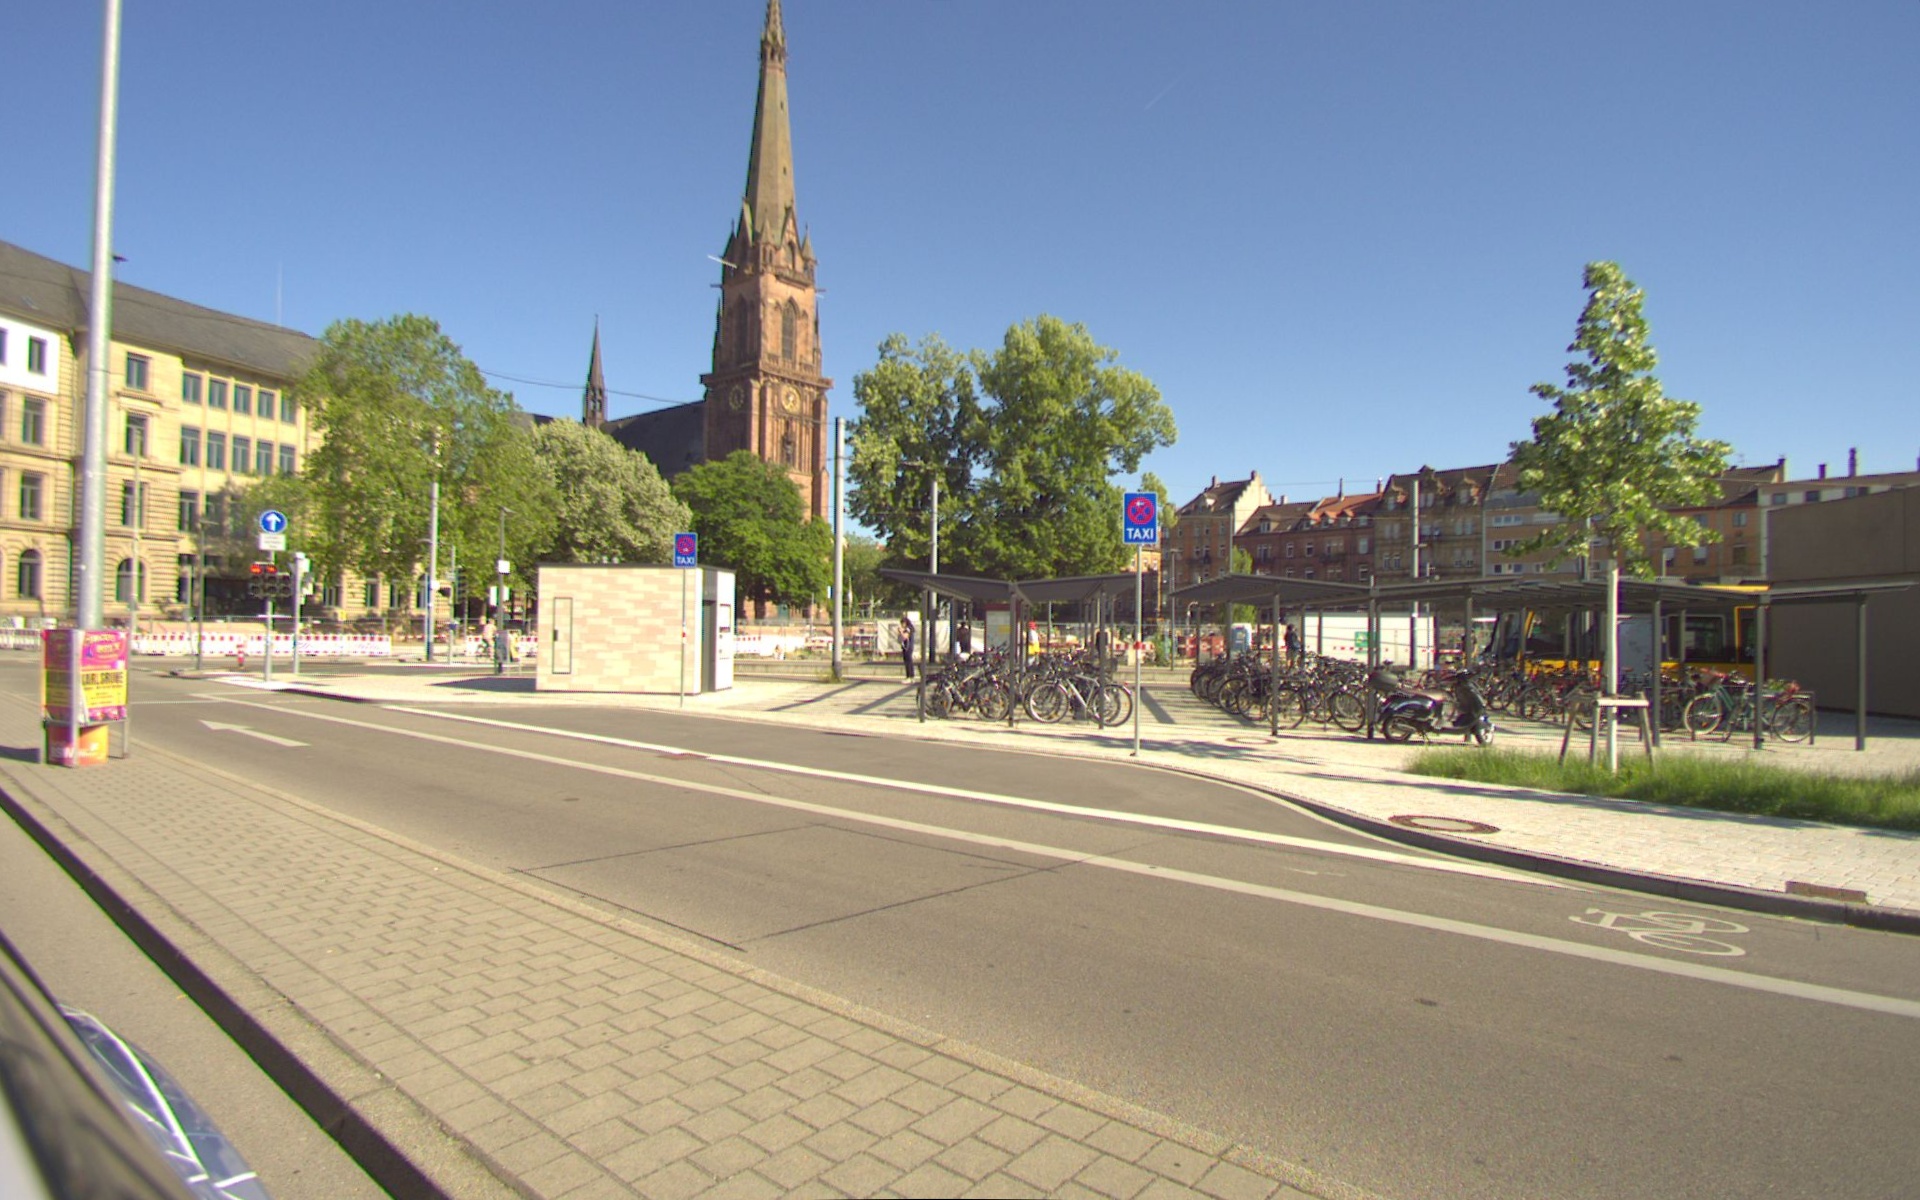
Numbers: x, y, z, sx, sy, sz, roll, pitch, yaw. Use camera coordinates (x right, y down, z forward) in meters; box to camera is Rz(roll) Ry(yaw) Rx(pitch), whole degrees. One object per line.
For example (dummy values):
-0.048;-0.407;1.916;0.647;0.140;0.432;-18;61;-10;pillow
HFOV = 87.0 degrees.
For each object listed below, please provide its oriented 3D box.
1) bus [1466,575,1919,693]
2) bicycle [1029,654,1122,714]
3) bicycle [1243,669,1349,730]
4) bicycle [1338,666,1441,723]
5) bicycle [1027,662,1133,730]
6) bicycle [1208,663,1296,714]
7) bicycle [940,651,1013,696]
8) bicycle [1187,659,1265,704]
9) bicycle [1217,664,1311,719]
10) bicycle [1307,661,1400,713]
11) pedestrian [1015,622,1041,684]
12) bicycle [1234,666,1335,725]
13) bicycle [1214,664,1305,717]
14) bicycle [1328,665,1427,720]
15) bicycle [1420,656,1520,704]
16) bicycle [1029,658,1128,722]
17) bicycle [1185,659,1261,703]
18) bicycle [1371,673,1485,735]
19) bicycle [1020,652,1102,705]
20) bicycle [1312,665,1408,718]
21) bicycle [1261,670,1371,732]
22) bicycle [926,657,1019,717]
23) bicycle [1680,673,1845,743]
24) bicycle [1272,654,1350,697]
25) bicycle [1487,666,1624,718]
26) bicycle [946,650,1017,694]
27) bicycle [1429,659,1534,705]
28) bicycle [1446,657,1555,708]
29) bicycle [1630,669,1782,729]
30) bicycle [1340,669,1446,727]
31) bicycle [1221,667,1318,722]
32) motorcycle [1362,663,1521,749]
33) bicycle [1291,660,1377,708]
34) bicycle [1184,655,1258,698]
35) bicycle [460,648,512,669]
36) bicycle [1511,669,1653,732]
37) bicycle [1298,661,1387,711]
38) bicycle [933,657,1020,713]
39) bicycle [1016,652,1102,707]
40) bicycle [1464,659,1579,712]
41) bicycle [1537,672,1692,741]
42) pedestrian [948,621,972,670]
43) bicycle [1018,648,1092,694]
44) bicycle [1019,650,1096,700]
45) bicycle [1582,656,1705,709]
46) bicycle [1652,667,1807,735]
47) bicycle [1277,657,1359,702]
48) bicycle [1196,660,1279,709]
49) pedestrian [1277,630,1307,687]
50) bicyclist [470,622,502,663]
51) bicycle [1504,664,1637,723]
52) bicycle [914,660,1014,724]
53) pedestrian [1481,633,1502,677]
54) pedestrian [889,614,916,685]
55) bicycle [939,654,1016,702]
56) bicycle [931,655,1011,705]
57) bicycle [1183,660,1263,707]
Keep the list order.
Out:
21.995;0.936;28.648;13.462;3.095;2.859;0;-2;6;bus
2.234;1.622;19.588;1.755;1.083;0.406;1;0;6;bicycle
5.792;1.711;17.469;1.661;0.980;0.406;1;0;3;bicycle
7.822;1.724;18.466;1.661;0.980;0.406;-1;0;3;bicycle
2.021;1.607;17.098;1.753;1.083;0.406;1;-3;6;bicycle
5.924;1.787;20.570;1.661;0.980;0.406;1;-5;3;bicycle
0.392;1.703;23.668;1.663;1.006;0.406;0;0;8;bicycle
6.052;1.861;23.057;1.661;0.980;0.406;1;-5;3;bicycle
5.813;1.739;19.382;1.661;0.980;0.406;1;0;3;bicycle
7.856;1.732;20.235;1.661;0.980;0.406;-1;0;3;bicycle
1.844;1.427;27.377;0.693;1.635;0.619;0;-2;5;pedestrian
5.814;1.711;18.194;1.661;0.980;0.406;1;0;3;bicycle
5.900;1.782;19.965;1.661;0.980;0.406;1;0;3;bicycle
7.841;1.732;19.019;1.661;0.980;0.406;-1;0;3;bicycle
12.299;1.921;24.435;2.048;1.045;0.533;1;3;8;bicycle
2.138;1.618;18.343;1.753;1.083;0.406;1;0;6;bicycle
6.136;1.883;23.630;1.661;0.980;0.406;1;-5;3;bicycle
7.767;1.725;16.828;1.661;0.980;0.406;-1;0;3;bicycle
2.192;1.696;22.034;1.755;1.083;0.406;1;0;6;bicycle
7.715;1.765;19.535;1.661;0.980;0.406;-1;0;3;bicycle
5.932;1.686;16.896;1.661;0.980;0.406;-1;0;3;bicycle
0.230;1.598;18.607;1.663;1.006;0.406;2;0;8;bicycle
12.766;1.716;16.144;2.048;1.045;0.533;-1;0;8;bicycle
8.290;1.787;23.921;1.661;0.980;0.406;-1;0;3;bicycle
11.613;1.800;19.797;2.208;0.951;0.685;-1;0;7;bicycle
0.516;1.703;24.193;1.663;1.006;0.406;0;0;8;bicycle
12.030;1.881;23.380;2.048;1.045;0.533;-1;-4;8;bicycle
11.864;1.803;22.262;2.048;1.045;0.533;-1;2;8;bicycle
13.478;1.782;18.336;2.117;1.005;0.690;-1;0;7;bicycle
7.642;1.727;17.898;1.661;0.980;0.406;-1;0;3;bicycle
5.727;1.751;18.774;1.661;0.980;0.406;-1;0;3;bicycle
7.192;1.572;15.166;2.059;1.228;0.569;-1;-2;3;motorcycle
7.987;1.791;21.629;1.661;0.980;0.406;-1;0;3;bicycle
6.254;1.838;24.318;1.661;0.980;0.406;1;-5;3;bicycle
-18.423;2.262;39.348;0.734;0.788;2.044;0;-2;13;bicycle
10.836;1.741;17.665;2.048;1.045;0.533;-1;0;8;bicycle
7.860;1.762;20.832;1.661;0.980;0.406;-1;0;3;bicycle
0.327;1.665;19.951;1.663;1.006;0.406;2;0;8;bicycle
2.051;1.644;20.979;1.755;1.083;0.406;1;0;6;bicycle
11.775;1.797;21.271;2.048;1.045;0.533;-1;2;8;bicycle
10.571;1.713;16.395;2.048;1.045;0.533;-1;0;8;bicycle
-0.015;1.736;39.051;0.610;1.874;0.703;2;-2;-39;pedestrian
2.313;1.725;24.684;1.755;1.083;0.406;1;0;6;bicycle
2.271;1.733;23.504;1.755;1.083;0.406;1;0;6;bicycle
14.077;1.698;20.884;2.048;1.045;0.533;-1;0;8;bicycle
12.988;1.698;17.122;2.030;1.087;0.604;-1;0;7;bicycle
8.072;1.790;22.845;1.661;0.980;0.406;-1;0;3;bicycle
5.924;1.807;21.646;1.661;0.980;0.406;1;-5;3;bicycle
11.424;2.006;34.835;0.759;1.931;0.804;0;-2;-1;pedestrian
-18.423;1.647;39.366;0.734;1.583;0.882;0;-2;12;bicyclist
11.321;1.735;18.819;2.048;1.045;0.533;-1;0;8;bicycle
0.066;1.575;17.389;1.663;1.006;0.406;2;0;8;bicycle
23.225;2.391;44.267;0.637;1.885;0.529;0;-2;5;pedestrian
-1.534;1.314;27.066;0.692;1.873;0.621;1;-1;-4;pedestrian
0.383;1.706;22.291;1.663;1.006;0.406;0;0;8;bicycle
0.228;1.677;21.410;1.663;1.006;0.406;0;0;8;bicycle
5.784;1.839;22.302;1.661;0.980;0.406;1;-5;3;bicycle
